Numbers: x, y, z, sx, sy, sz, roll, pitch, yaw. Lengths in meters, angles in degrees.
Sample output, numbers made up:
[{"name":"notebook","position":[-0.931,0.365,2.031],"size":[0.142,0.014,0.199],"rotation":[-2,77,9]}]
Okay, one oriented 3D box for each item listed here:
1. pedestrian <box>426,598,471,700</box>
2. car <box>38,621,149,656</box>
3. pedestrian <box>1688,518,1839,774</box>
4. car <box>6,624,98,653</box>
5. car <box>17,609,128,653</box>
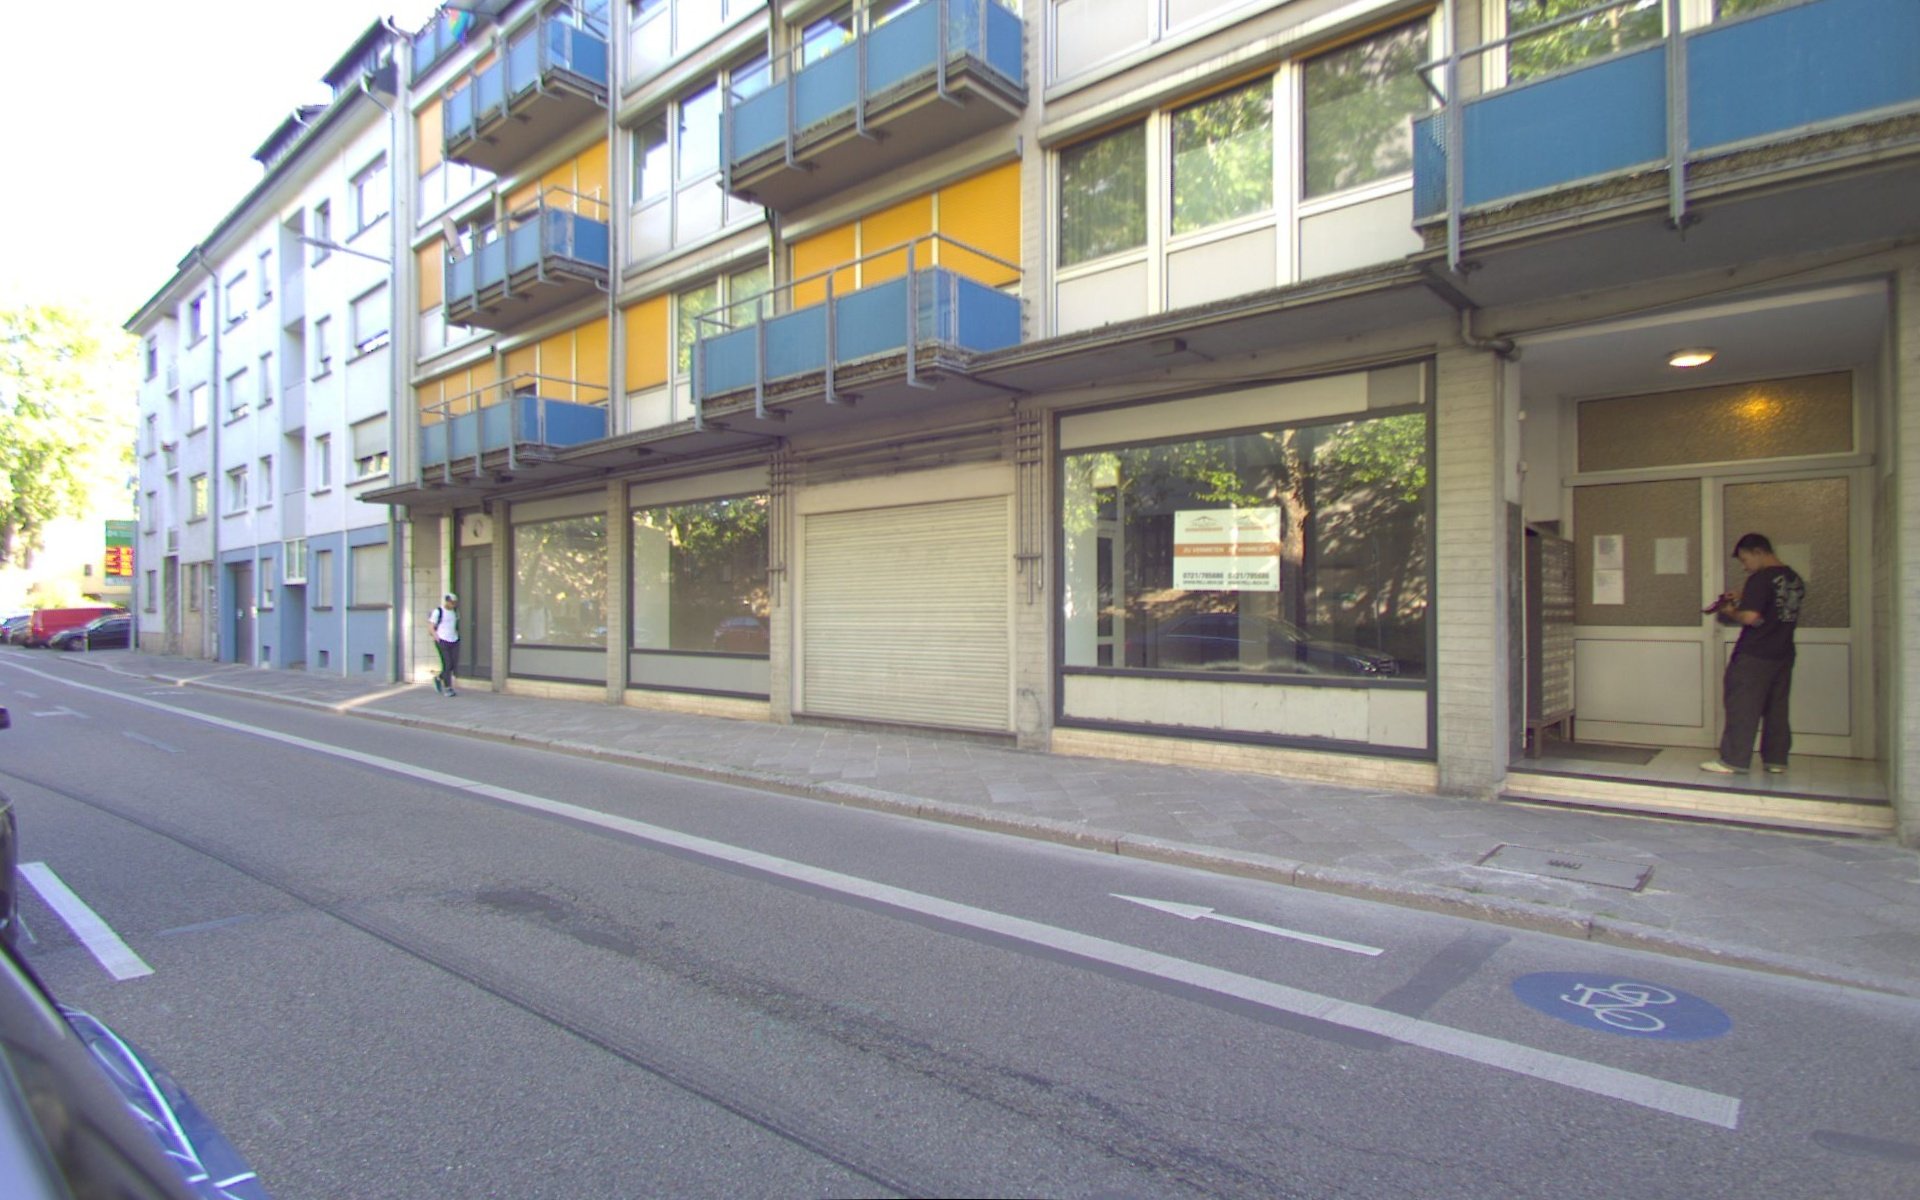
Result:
[{"name":"pedestrian","position":[-8.918,0.836,17.656],"size":[0.343,1.739,0.562],"rotation":[-1,0,41]},{"name":"car","position":[-39.216,1.711,45.849],"size":[1.635,1.422,3.623],"rotation":[-1,0,40]},{"name":"pedestrian","position":[5.715,0.319,7.227],"size":[0.623,1.754,0.526],"rotation":[-1,-1,8]},{"name":"car","position":[-45.439,1.923,50.680],"size":[1.294,1.258,3.283],"rotation":[-1,0,40]},{"name":"car","position":[-43.205,1.492,49.331],"size":[1.635,1.937,3.878],"rotation":[-1,0,40]}]
